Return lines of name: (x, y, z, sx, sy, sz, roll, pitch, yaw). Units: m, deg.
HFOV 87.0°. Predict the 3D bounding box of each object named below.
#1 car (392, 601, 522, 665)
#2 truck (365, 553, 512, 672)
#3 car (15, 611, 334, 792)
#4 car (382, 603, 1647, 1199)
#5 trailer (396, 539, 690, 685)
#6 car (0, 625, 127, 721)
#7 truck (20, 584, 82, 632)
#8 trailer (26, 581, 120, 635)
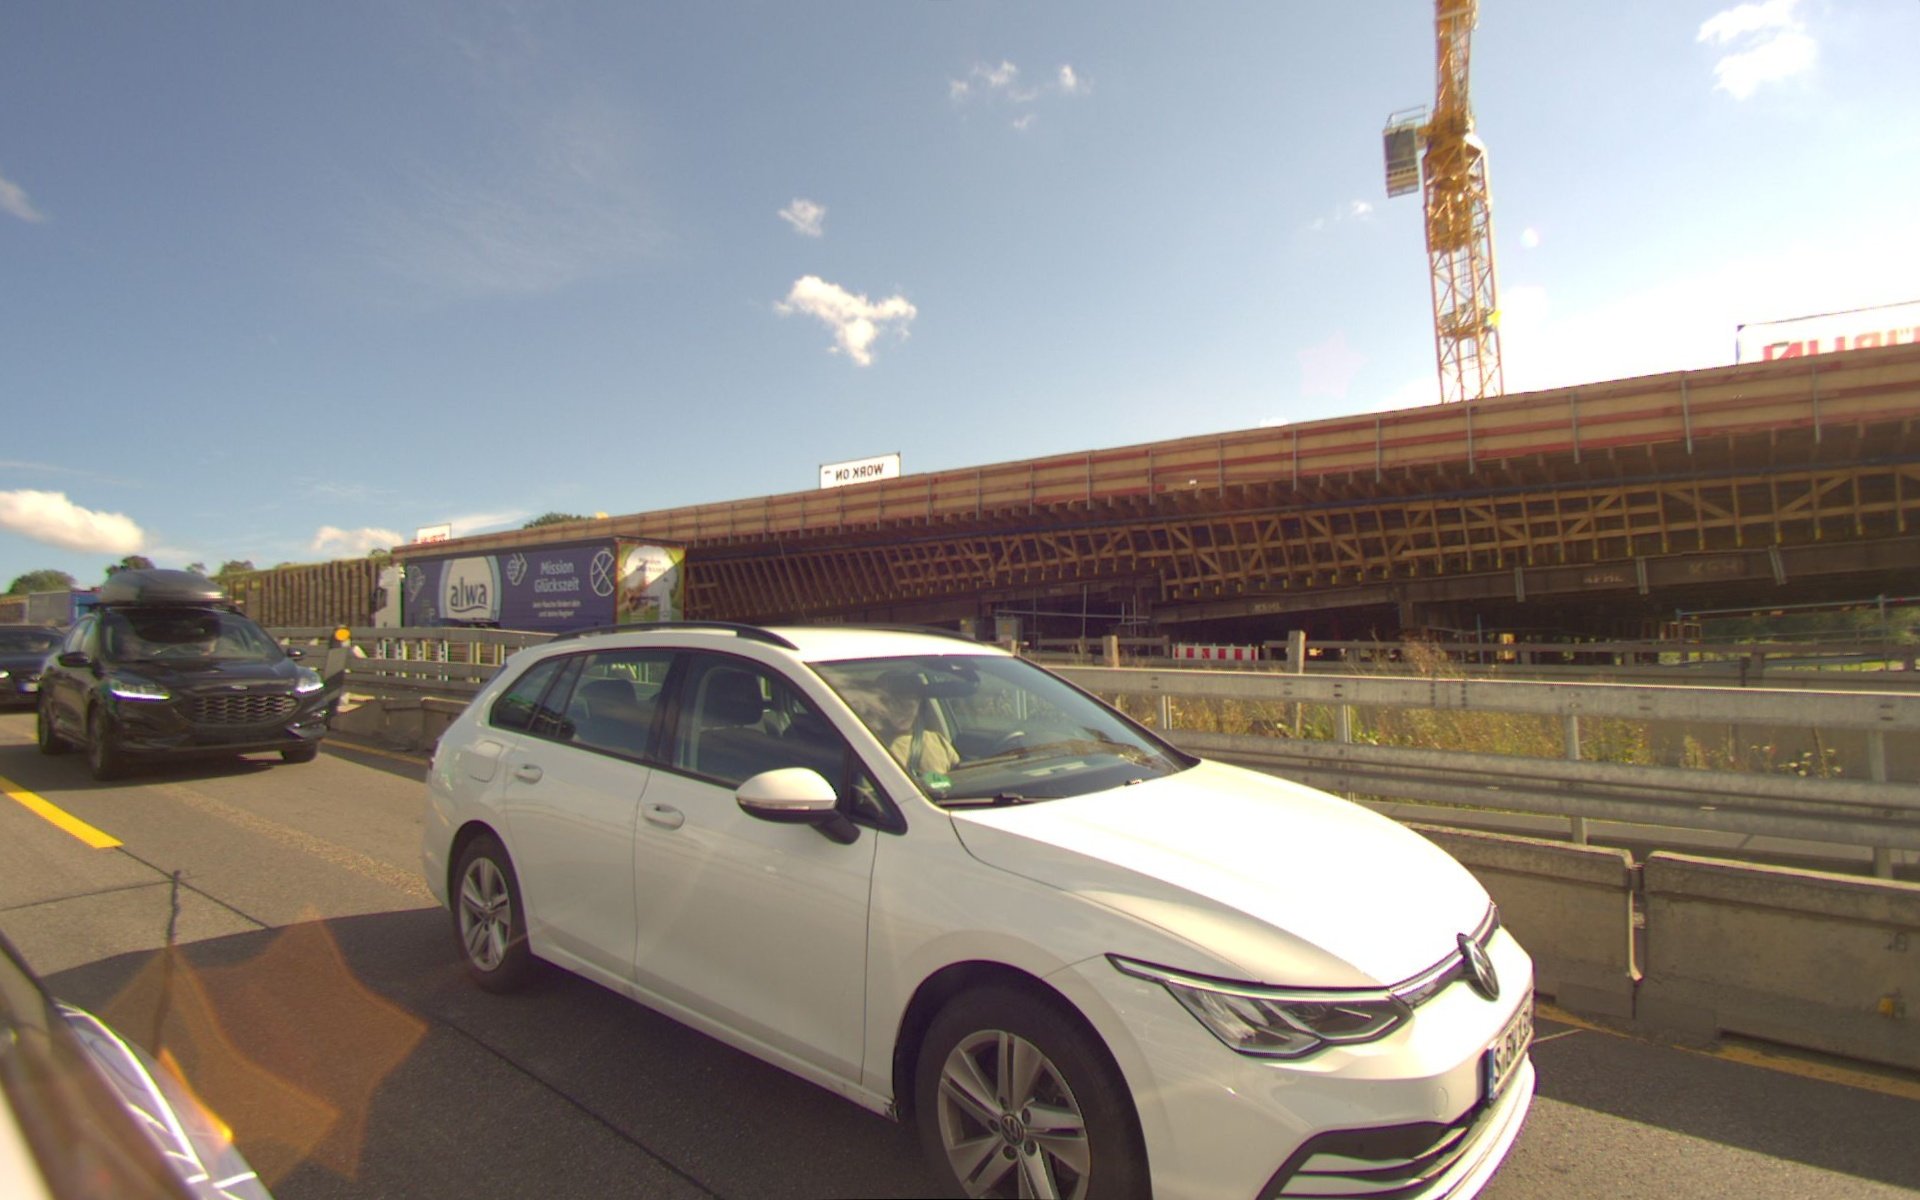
car: (-15.196, 0.949, 30.489, 4.322, 1.780, 1.904, -1, -1, 39)
truck: (-19.809, 0.462, 38.323, 5.961, 4.169, 2.686, 0, -1, 38)
car: (-8.494, 0.913, 10.801, 4.380, 1.554, 1.781, -1, -1, 40)
car: (-0.301, 0.801, 3.716, 4.514, 1.502, 1.751, 0, -3, 41)
trailer: (-14.593, 0.397, 34.318, 13.790, 4.187, 2.662, 0, -1, 37)
car: (-16.462, 1.188, 17.752, 4.499, 1.441, 1.925, 0, -2, 38)
truck: (-71.064, 0.631, 79.098, 4.804, 3.656, 2.814, -1, -1, 39)
trailer: (-65.597, 0.595, 74.675, 13.511, 3.694, 2.835, 0, -1, 38)
